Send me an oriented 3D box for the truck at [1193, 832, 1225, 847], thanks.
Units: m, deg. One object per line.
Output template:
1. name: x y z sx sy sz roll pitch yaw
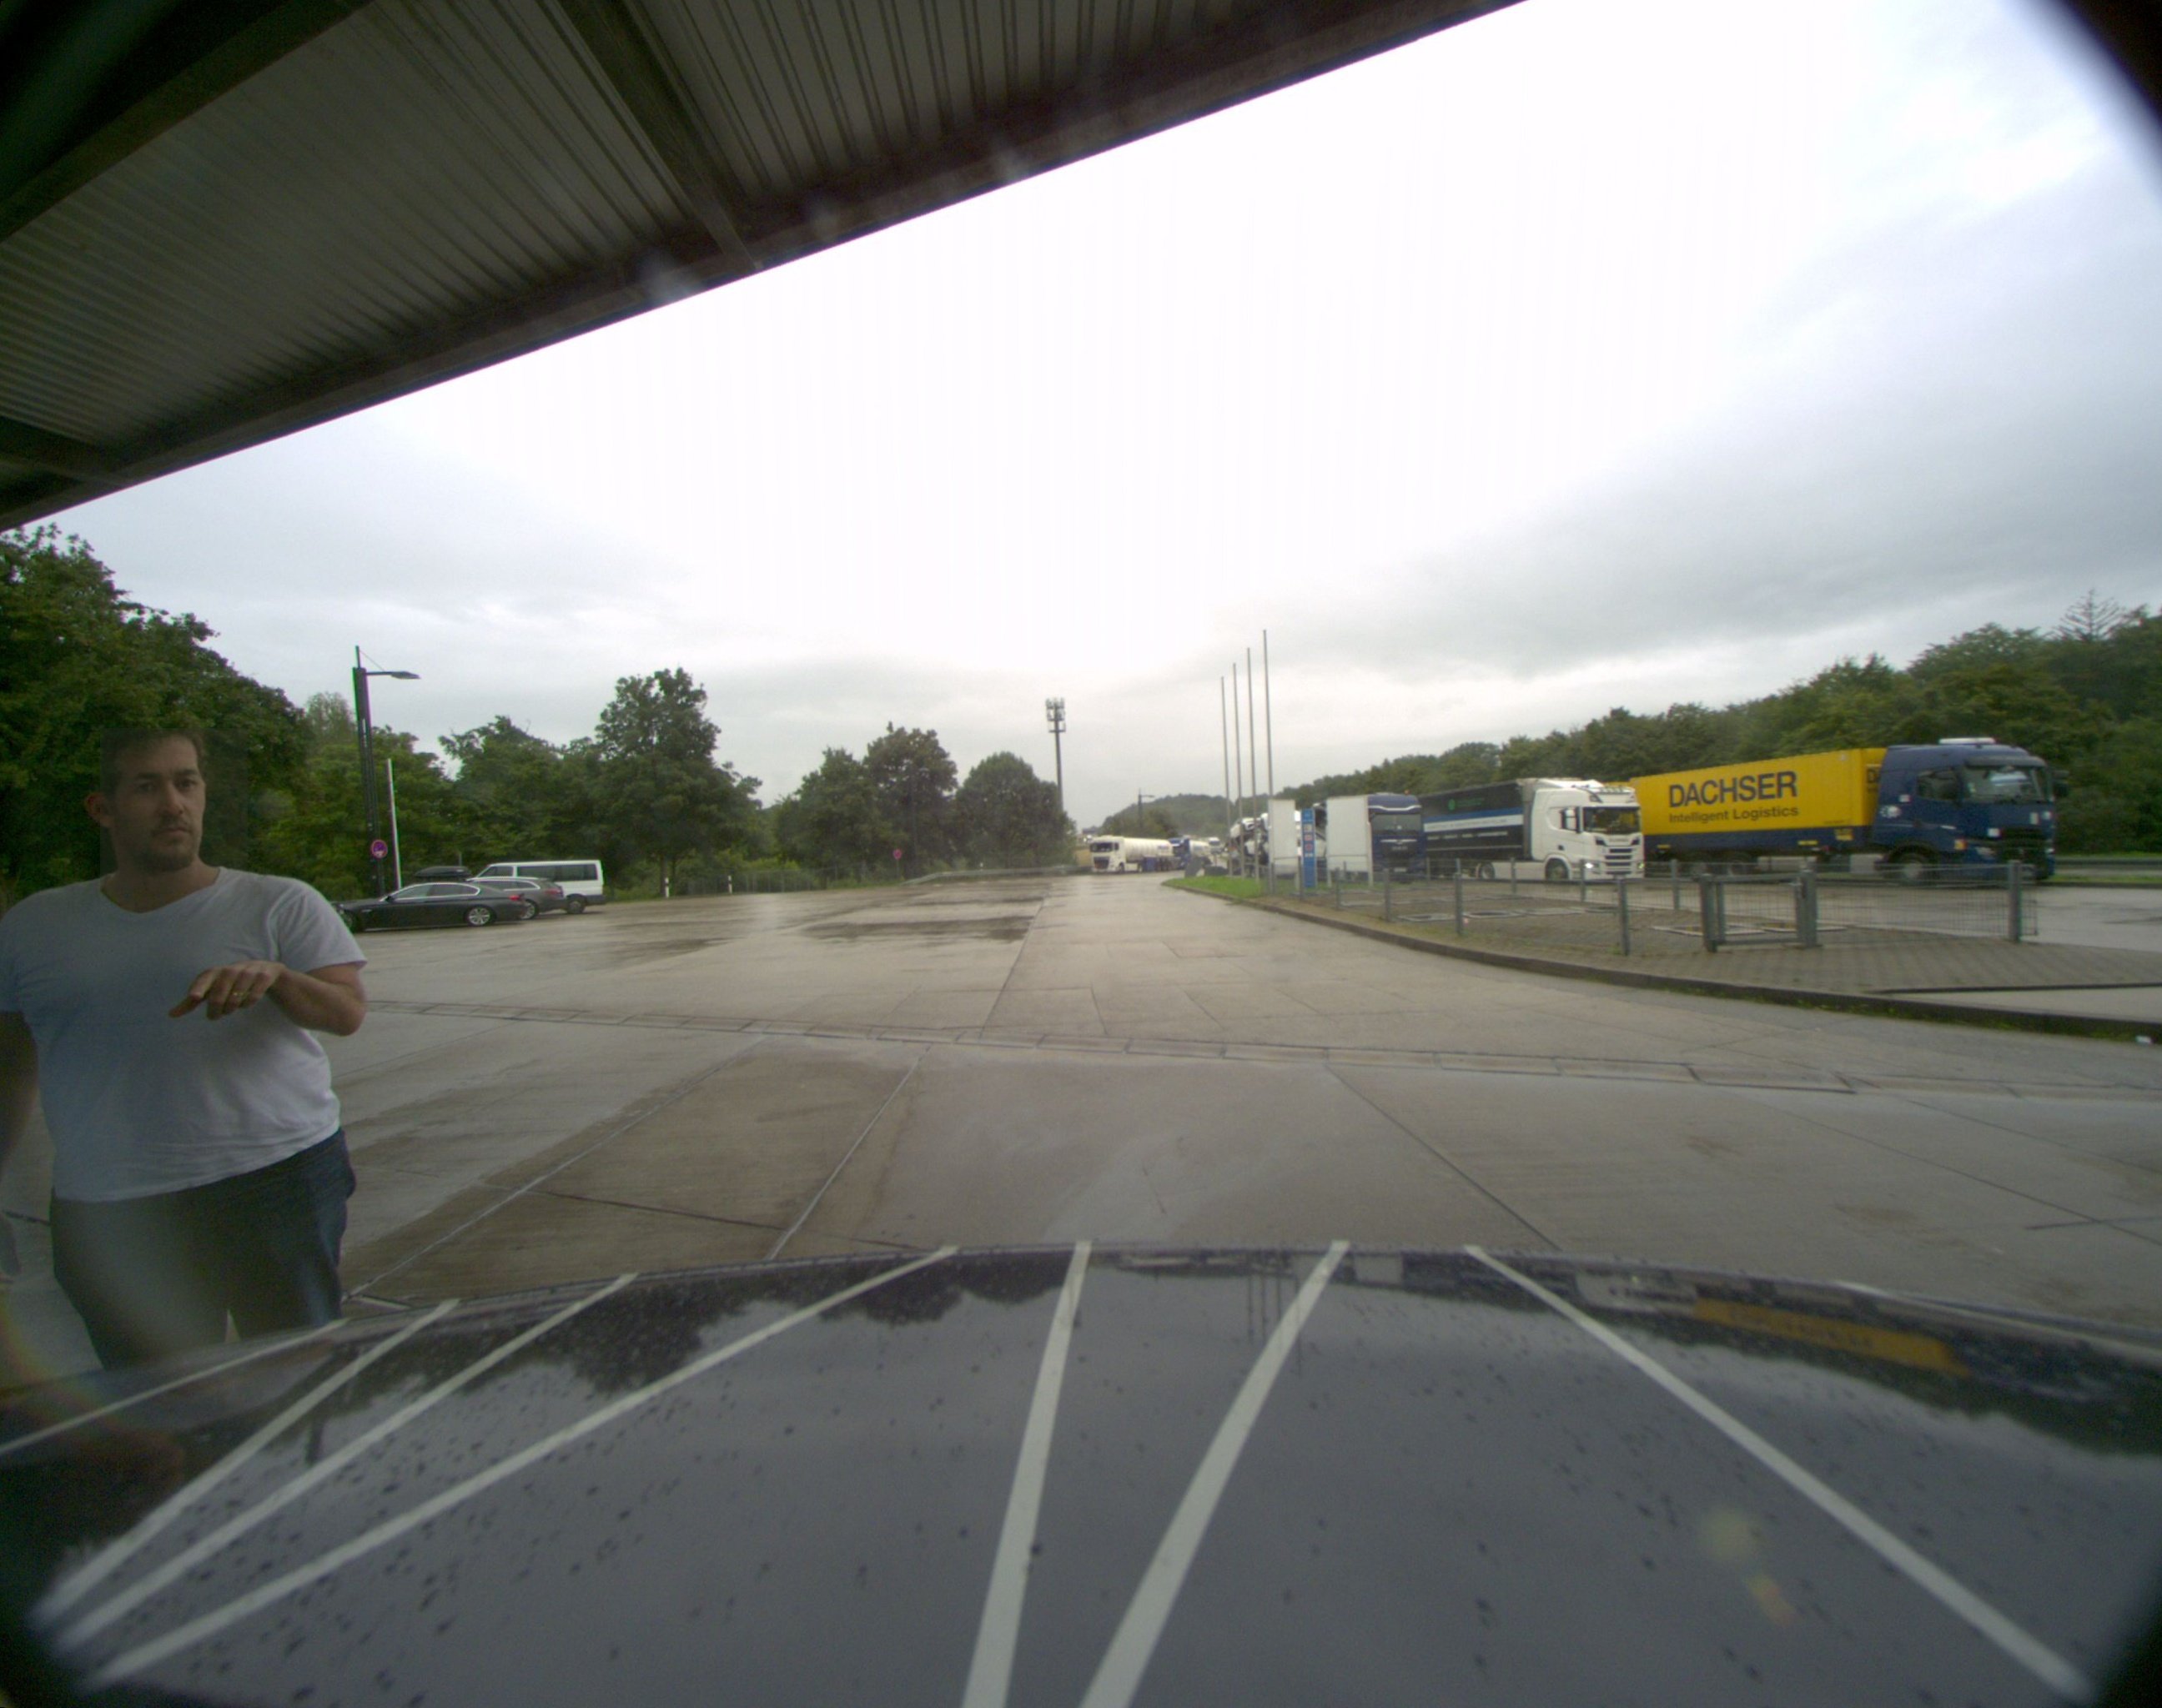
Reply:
1. truck: 31.921 -3.598 190.124 3.251 3.543 16.548 -2 1 -7

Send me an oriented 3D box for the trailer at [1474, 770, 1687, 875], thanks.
1. trailer: 21.776 -1.274 33.989 2.774 4.009 8.853 -2 1 -8

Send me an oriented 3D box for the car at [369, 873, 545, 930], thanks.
1. car: -20.233 1.475 24.914 4.187 1.547 1.995 -2 0 -33

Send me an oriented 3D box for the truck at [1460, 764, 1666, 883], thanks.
1. truck: 18.371 -1.092 29.587 2.991 4.009 6.736 -2 1 -9

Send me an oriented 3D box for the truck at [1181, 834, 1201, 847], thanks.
1. truck: 32.637 -3.988 226.102 3.251 3.543 11.968 -2 1 -5

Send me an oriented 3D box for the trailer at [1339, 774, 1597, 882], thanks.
1. trailer: 17.145 -1.050 35.789 2.991 4.009 13.794 -2 1 -10

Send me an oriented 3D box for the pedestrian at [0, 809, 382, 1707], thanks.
1. pedestrian: -1.880 0.830 1.451 0.635 1.800 0.493 -4 3 -34

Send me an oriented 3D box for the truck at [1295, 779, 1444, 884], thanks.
1. truck: 12.296 -0.921 33.245 2.990 4.009 7.259 -2 1 -7

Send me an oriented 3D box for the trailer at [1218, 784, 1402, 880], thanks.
1. trailer: 11.367 -0.997 40.936 2.990 4.009 16.597 -2 1 -7

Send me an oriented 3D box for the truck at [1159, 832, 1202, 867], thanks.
1. truck: 11.322 -0.523 85.731 3.045 3.745 6.475 -2 1 23

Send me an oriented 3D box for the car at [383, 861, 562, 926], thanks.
1. car: -21.451 1.340 27.096 4.780 1.974 2.010 -2 0 -36

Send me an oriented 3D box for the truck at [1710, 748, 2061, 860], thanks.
1. truck: 33.764 -1.875 32.927 2.991 4.009 10.464 -2 1 -10

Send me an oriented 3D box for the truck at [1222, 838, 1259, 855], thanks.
1. truck: 34.803 -1.596 166.632 3.251 3.543 14.657 -2 0 -7

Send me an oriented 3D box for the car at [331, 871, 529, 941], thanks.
1. car: -19.130 1.453 22.640 4.187 1.720 1.995 -2 0 -33

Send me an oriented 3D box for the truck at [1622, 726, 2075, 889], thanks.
1. truck: 23.053 -1.213 24.306 2.774 4.009 10.632 -2 1 -8

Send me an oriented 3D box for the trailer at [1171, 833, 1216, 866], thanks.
1. trailer: 13.663 -0.650 91.438 2.898 3.618 10.586 -2 1 22

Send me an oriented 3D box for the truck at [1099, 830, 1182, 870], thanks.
1. truck: 6.194 -0.520 76.347 3.243 3.544 11.995 -2 1 31

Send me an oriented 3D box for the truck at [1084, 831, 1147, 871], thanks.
1. truck: 3.310 -0.353 71.435 3.243 3.544 6.114 -2 1 31
